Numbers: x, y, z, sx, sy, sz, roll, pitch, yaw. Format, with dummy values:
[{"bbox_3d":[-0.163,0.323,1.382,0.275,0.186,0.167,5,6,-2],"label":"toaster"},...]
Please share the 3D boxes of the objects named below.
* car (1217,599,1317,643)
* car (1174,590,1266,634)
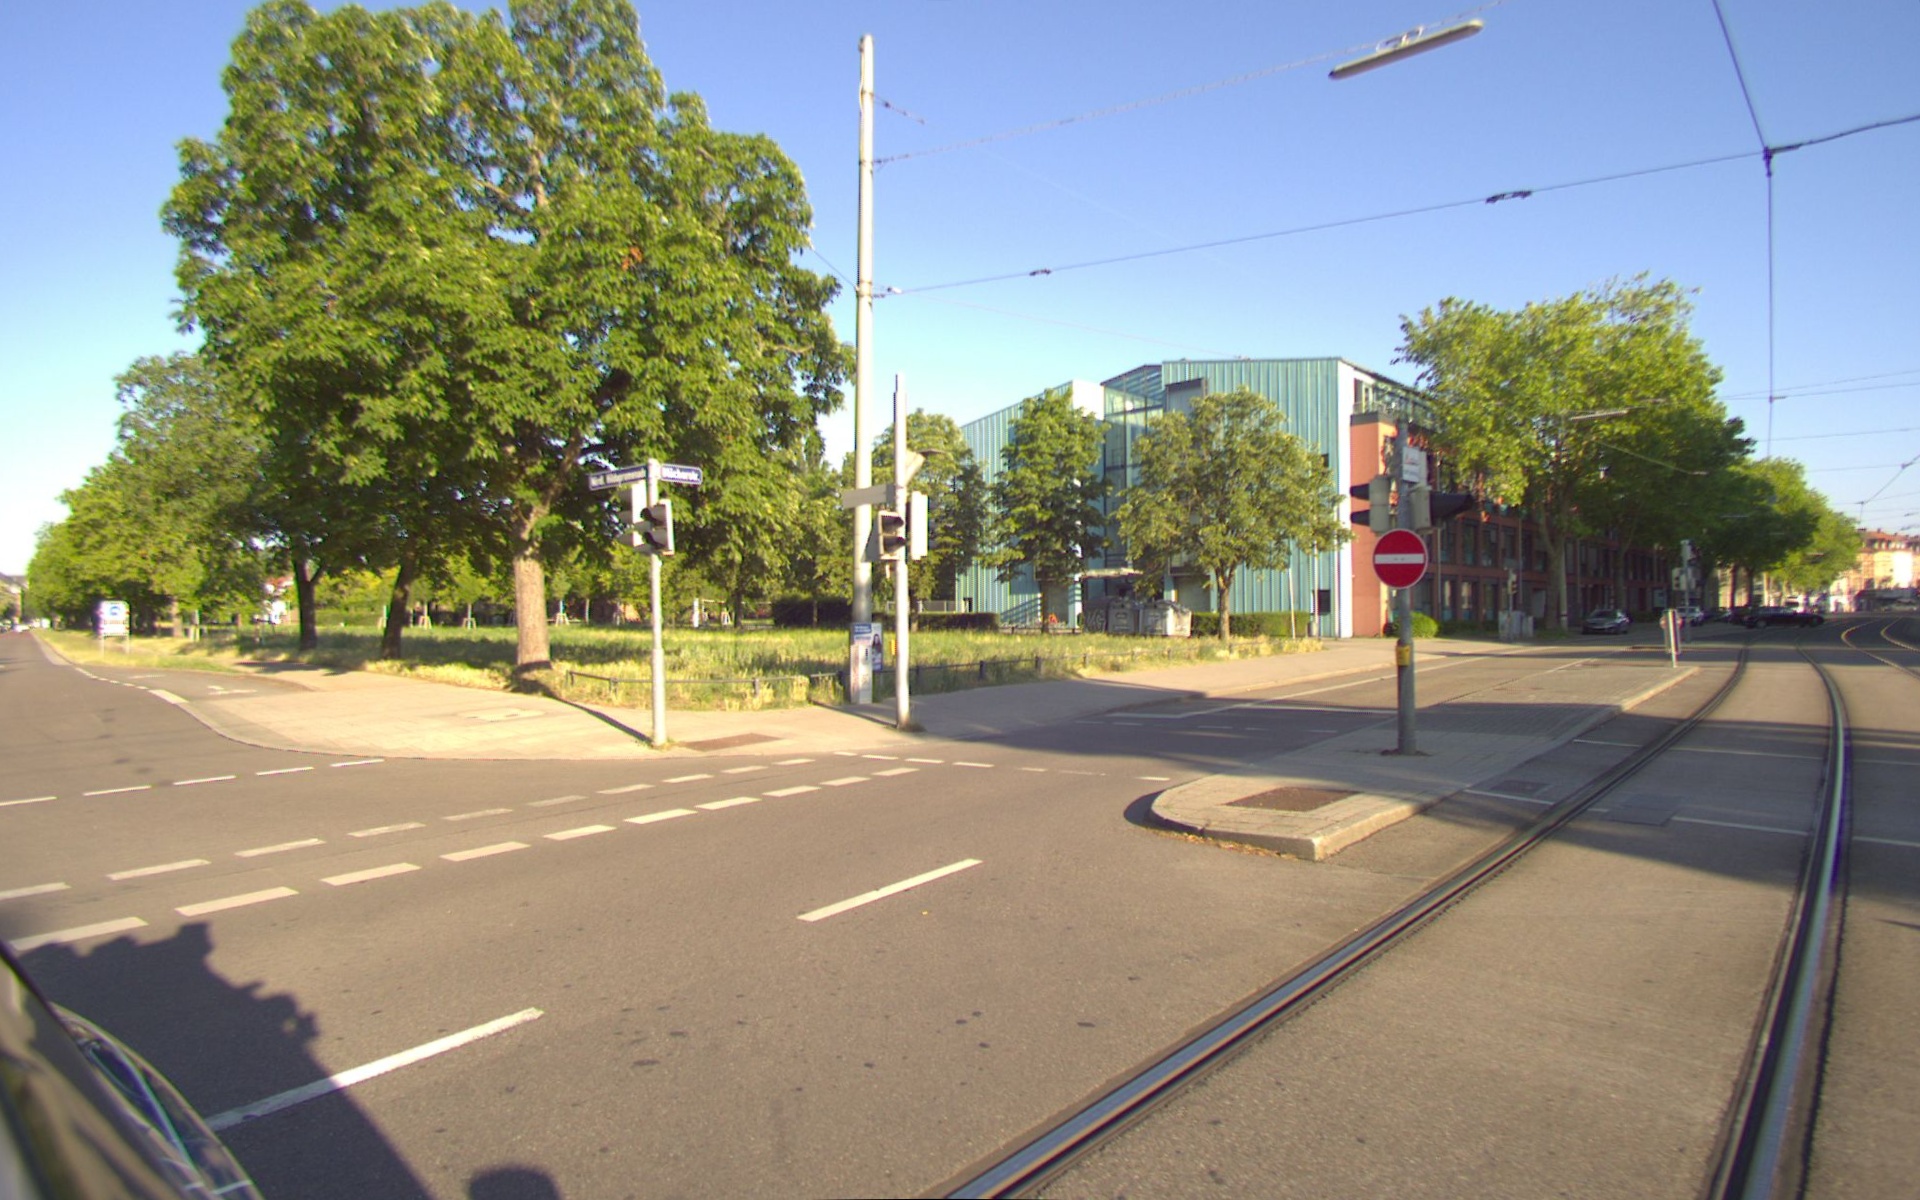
[{"bbox_3d":[13.421,0.865,44.041,2.001,1.684,5.148,-1,1,44],"label":"car"},{"bbox_3d":[11.764,0.510,45.546,1.966,1.684,5.154,-1,2,40],"label":"car"}]
